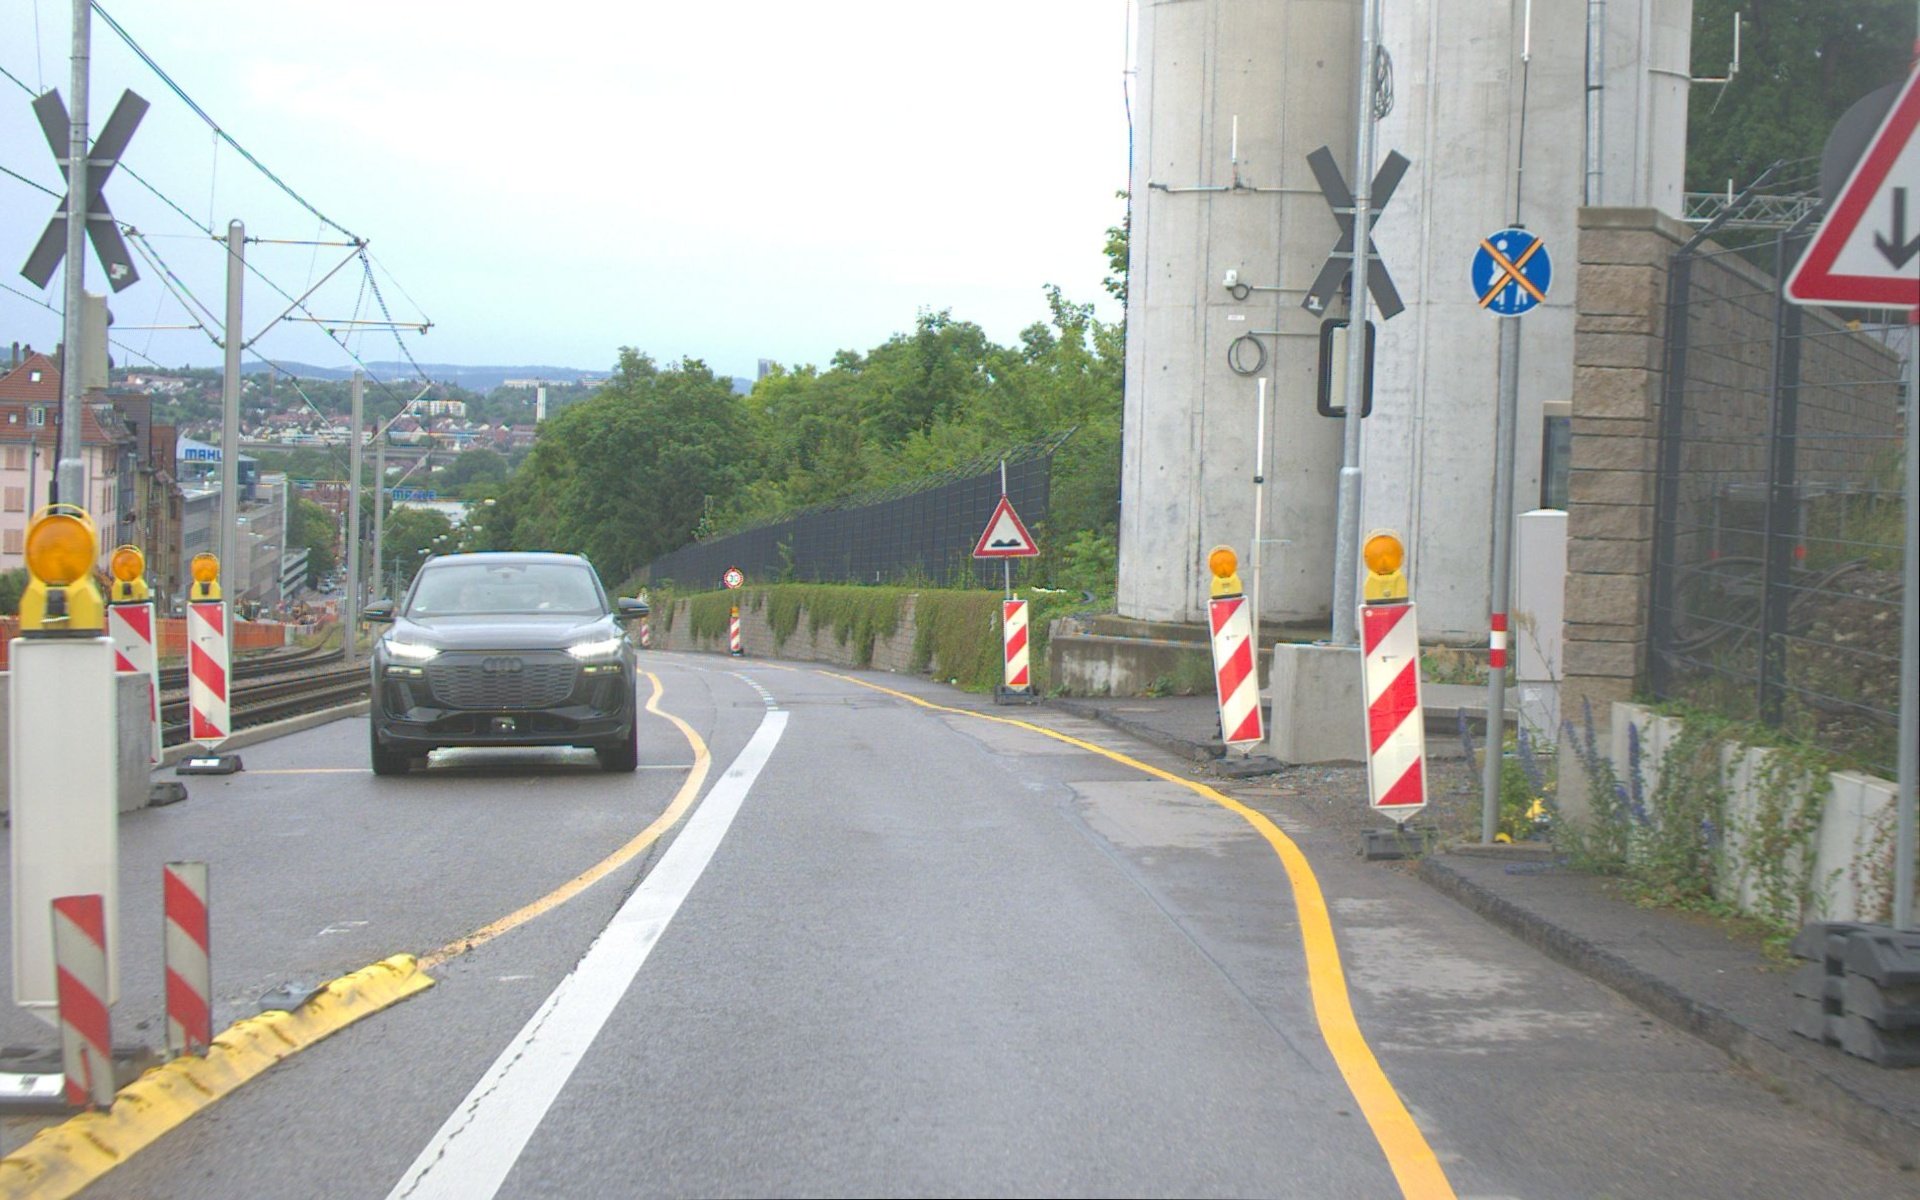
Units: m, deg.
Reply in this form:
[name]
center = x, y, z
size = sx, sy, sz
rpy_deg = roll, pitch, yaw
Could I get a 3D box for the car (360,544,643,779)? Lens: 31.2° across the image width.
[car]
center = -3.503, 0.413, 26.825
size = 1.993, 1.672, 4.489
rpy_deg = 0, 1, -6
